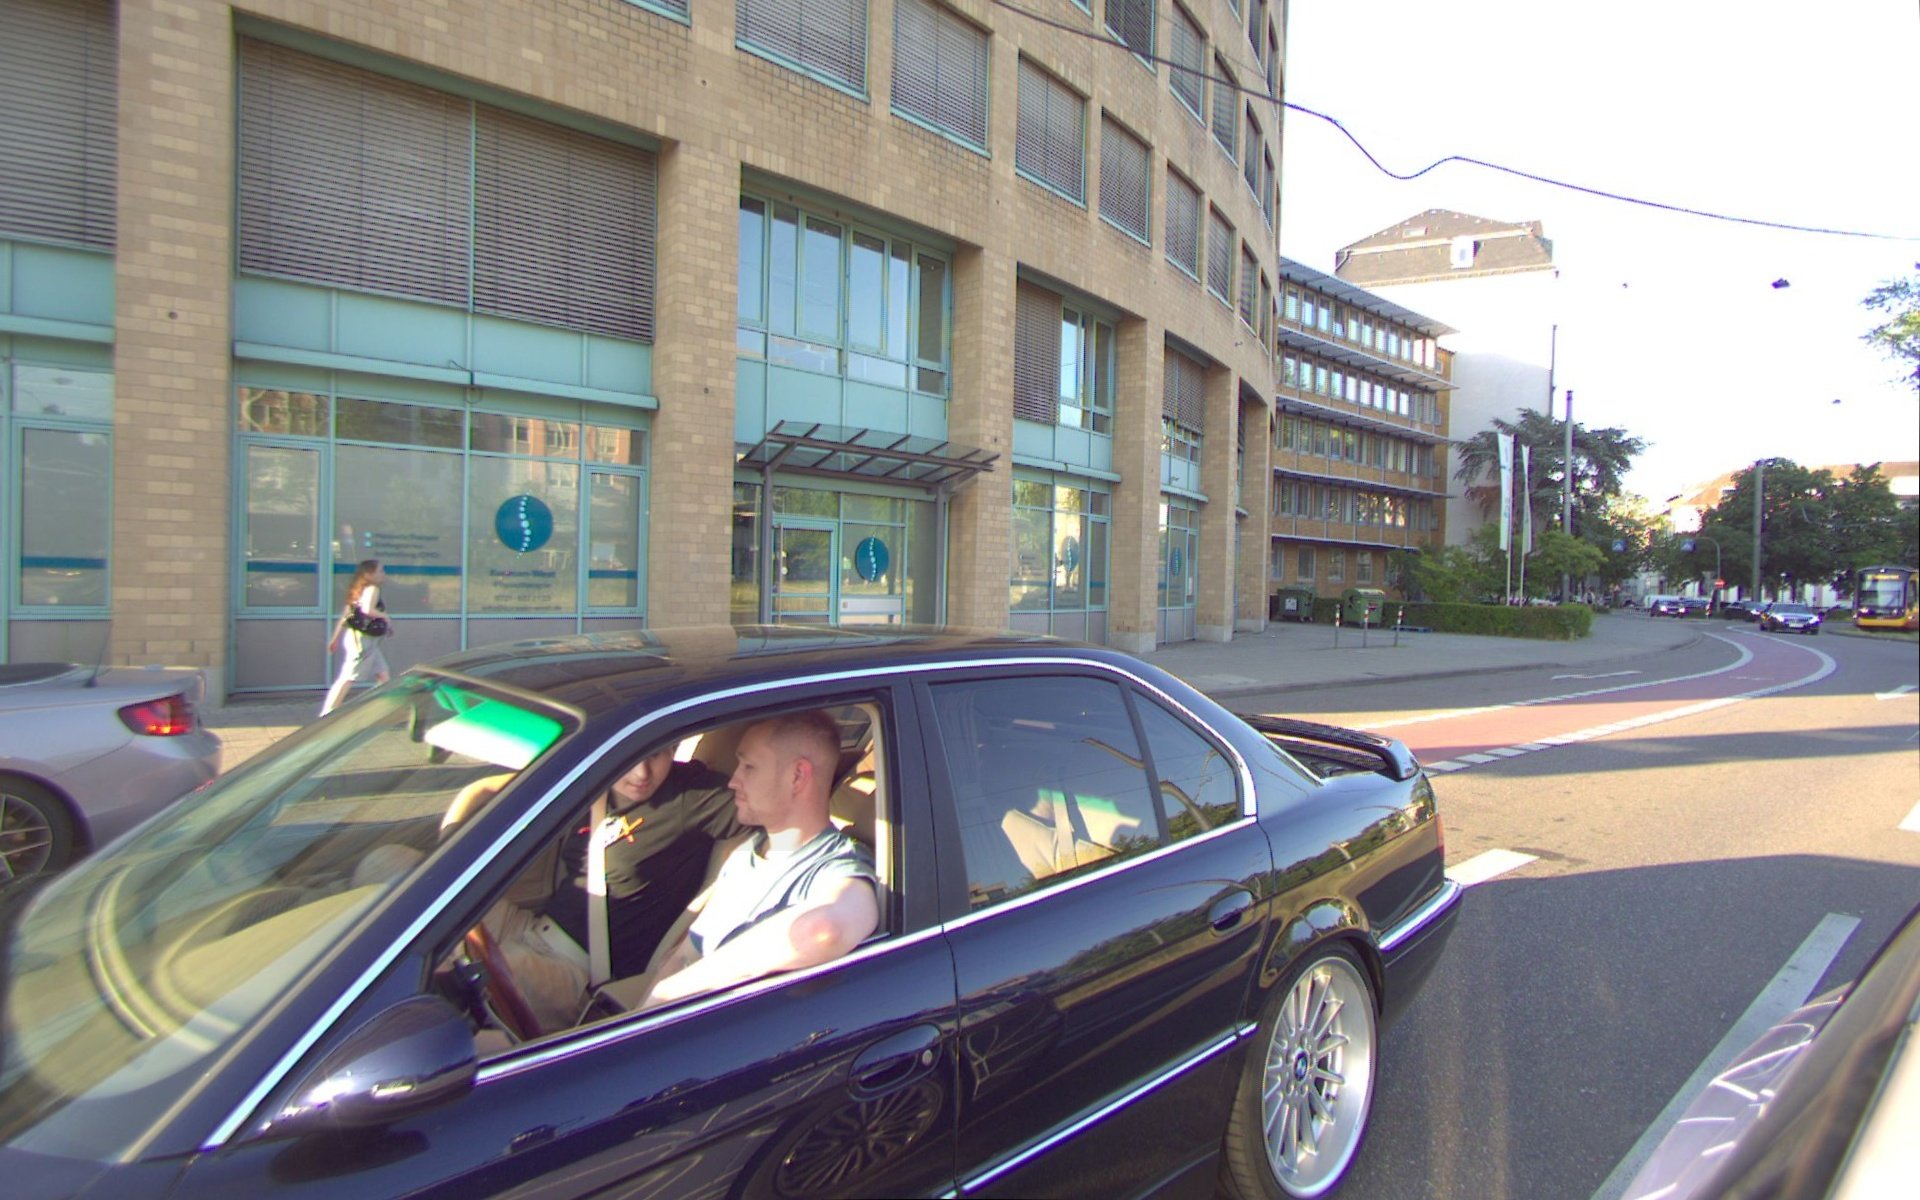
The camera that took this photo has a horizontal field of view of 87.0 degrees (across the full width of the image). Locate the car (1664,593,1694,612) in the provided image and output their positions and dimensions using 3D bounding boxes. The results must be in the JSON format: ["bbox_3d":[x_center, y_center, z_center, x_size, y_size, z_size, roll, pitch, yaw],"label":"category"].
[{"bbox_3d":[58.173,0.213,81.942,1.809,1.501,4.084,2,0,34],"label":"car"}]

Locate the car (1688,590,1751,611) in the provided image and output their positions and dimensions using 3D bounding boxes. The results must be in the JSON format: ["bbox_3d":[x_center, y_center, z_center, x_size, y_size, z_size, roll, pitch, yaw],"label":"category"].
[{"bbox_3d":[63.682,0.063,84.847,4.055,1.576,1.837,3,1,43],"label":"car"}]

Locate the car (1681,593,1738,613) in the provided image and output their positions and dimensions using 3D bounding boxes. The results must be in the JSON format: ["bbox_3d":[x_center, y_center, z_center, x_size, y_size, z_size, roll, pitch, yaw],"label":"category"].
[{"bbox_3d":[69.601,0.292,94.001,4.055,1.638,1.969,3,1,43],"label":"car"}]

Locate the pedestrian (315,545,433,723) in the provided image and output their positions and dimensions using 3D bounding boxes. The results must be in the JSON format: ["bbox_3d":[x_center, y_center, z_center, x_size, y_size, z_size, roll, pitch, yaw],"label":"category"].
[{"bbox_3d":[-5.528,0.298,9.551,0.786,1.589,0.677,2,0,-43],"label":"pedestrian"}]

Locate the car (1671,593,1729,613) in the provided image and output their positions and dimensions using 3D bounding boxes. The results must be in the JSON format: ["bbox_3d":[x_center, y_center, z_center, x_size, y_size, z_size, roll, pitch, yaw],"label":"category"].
[{"bbox_3d":[67.582,0.258,92.500,4.055,1.571,1.969,3,1,43],"label":"car"}]

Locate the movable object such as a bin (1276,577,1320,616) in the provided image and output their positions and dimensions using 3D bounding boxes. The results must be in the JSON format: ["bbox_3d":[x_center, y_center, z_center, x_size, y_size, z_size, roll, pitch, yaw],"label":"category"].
[{"bbox_3d":[13.154,-0.151,39.374,1.340,1.442,0.910,3,1,42],"label":"movable object such as a bin"}]

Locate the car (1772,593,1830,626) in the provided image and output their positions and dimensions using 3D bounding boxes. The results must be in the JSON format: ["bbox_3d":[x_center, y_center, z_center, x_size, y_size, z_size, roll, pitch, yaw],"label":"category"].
[{"bbox_3d":[41.397,0.463,49.899,1.810,1.501,4.083,3,1,35],"label":"car"}]

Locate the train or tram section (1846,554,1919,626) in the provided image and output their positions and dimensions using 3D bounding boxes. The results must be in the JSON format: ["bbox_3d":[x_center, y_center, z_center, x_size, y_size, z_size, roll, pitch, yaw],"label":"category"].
[{"bbox_3d":[52.929,-0.536,56.135,13.117,3.629,2.950,0,1,-37],"label":"train or tram section"}]

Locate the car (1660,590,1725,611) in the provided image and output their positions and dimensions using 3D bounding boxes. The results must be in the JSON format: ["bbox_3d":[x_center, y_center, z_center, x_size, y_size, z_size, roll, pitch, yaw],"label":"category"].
[{"bbox_3d":[75.793,0.036,104.821,2.083,1.926,5.078,2,1,-39],"label":"car"}]

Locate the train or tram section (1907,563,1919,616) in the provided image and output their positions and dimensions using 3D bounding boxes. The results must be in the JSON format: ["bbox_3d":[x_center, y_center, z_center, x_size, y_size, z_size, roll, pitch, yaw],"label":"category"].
[{"bbox_3d":[63.398,-0.592,63.407,12.606,3.180,2.934,0,1,-33],"label":"train or tram section"}]

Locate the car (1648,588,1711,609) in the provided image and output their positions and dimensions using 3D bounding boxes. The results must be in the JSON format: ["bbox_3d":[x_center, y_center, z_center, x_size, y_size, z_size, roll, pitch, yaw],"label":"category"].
[{"bbox_3d":[76.663,-0.194,107.867,1.932,2.047,5.078,2,1,-39],"label":"car"}]

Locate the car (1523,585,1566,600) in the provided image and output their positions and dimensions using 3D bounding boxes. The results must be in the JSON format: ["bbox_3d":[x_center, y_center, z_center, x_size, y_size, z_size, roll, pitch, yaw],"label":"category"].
[{"bbox_3d":[71.820,-0.898,124.429,4.356,1.633,1.713,3,1,27],"label":"car"}]

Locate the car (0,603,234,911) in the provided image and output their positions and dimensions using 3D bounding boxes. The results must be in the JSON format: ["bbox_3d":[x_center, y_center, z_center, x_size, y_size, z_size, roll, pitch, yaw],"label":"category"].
[{"bbox_3d":[-5.889,0.700,4.480,4.192,1.371,1.786,1,0,-41],"label":"car"}]

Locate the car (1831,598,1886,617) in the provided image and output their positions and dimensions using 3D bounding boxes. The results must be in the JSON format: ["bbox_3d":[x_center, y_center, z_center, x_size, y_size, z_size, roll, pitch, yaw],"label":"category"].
[{"bbox_3d":[92.746,0.791,104.499,1.672,1.746,4.007,2,1,-42],"label":"car"}]

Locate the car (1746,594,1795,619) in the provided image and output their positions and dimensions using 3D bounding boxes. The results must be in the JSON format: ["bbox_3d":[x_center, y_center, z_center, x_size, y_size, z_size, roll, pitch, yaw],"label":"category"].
[{"bbox_3d":[53.603,0.433,67.004,1.805,1.501,4.093,3,1,29],"label":"car"}]

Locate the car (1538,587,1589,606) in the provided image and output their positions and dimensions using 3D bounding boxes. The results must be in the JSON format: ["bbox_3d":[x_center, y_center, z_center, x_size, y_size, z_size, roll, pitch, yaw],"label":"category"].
[{"bbox_3d":[56.996,-0.365,95.692,4.034,1.589,1.818,3,1,30],"label":"car"}]

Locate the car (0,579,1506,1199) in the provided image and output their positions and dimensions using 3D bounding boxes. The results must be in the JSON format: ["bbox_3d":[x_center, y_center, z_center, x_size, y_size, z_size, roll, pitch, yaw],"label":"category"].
[{"bbox_3d":[-0.654,0.671,2.235,4.560,1.371,1.833,1,0,-42],"label":"car"}]

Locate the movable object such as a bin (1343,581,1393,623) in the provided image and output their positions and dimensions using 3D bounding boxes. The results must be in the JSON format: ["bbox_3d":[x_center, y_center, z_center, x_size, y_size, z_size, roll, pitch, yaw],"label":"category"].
[{"bbox_3d":[14.869,0.054,36.916,1.317,1.455,0.976,2,0,-22],"label":"movable object such as a bin"}]

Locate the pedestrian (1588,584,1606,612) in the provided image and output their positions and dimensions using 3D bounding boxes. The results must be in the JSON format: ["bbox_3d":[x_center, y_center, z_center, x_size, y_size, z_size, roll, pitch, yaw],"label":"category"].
[{"bbox_3d":[41.967,-0.121,66.666,0.805,1.814,0.593,2,0,-30],"label":"pedestrian"}]
